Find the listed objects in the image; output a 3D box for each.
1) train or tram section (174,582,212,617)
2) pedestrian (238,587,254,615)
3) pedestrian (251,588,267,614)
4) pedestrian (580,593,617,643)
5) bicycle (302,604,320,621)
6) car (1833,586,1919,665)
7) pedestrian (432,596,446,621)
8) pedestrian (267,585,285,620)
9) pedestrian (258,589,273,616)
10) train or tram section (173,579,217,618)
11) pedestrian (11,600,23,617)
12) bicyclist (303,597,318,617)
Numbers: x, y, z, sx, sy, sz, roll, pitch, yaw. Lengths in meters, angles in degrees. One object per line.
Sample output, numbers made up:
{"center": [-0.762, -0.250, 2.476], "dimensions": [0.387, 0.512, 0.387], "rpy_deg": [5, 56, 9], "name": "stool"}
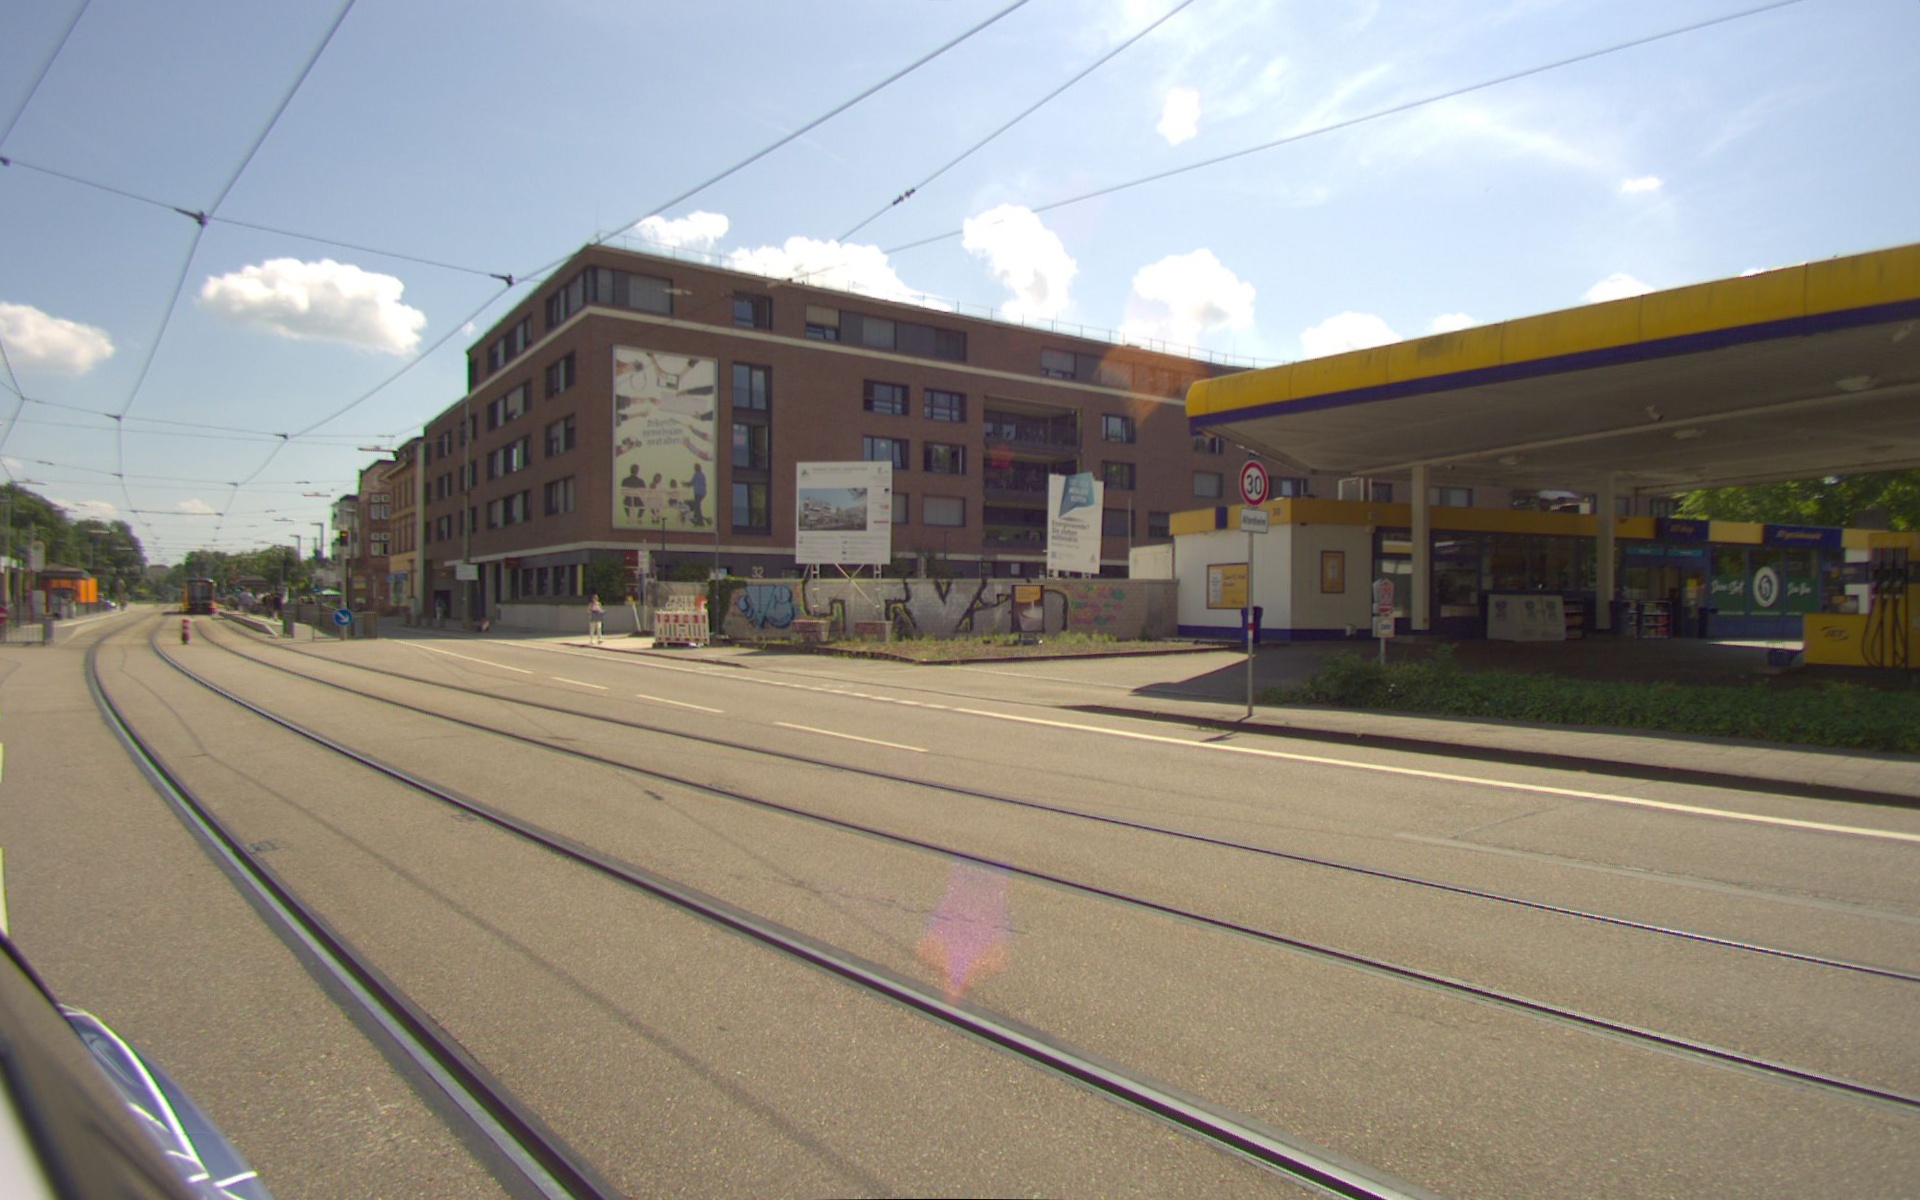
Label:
{"center": [-87.564, -0.059, 115.373], "dimensions": [3.208, 3.594, 20.544], "rpy_deg": [1, 0, -38], "name": "train or tram section"}
{"center": [-46.397, 0.083, 65.746], "dimensions": [0.750, 1.813, 0.954], "rpy_deg": [1, -1, -39], "name": "pedestrian"}
{"center": [-45.721, 0.057, 65.983], "dimensions": [0.750, 1.707, 0.810], "rpy_deg": [1, -1, -39], "name": "pedestrian"}
{"center": [-12.064, 0.592, 33.769], "dimensions": [0.751, 1.607, 1.001], "rpy_deg": [-4, 3, -43], "name": "pedestrian"}
{"center": [-48.897, 0.930, 76.229], "dimensions": [0.807, 1.232, 2.392], "rpy_deg": [2, -1, -42], "name": "bicycle"}
{"center": [19.283, 0.480, 18.716], "dimensions": [1.966, 1.490, 4.355], "rpy_deg": [0, 0, -17], "name": "car"}
{"center": [-34.448, 0.552, 66.915], "dimensions": [0.676, 1.608, 0.762], "rpy_deg": [1, -1, -39], "name": "pedestrian"}
{"center": [-35.930, 0.137, 53.128], "dimensions": [0.676, 1.773, 1.035], "rpy_deg": [1, -1, -39], "name": "pedestrian"}
{"center": [-41.935, 0.157, 61.107], "dimensions": [0.676, 1.608, 0.762], "rpy_deg": [1, -1, -39], "name": "pedestrian"}
{"center": [-76.233, -0.177, 100.735], "dimensions": [3.193, 3.594, 16.383], "rpy_deg": [1, 0, -38], "name": "train or tram section"}
{"center": [-92.893, 0.822, 99.702], "dimensions": [0.555, 1.678, 0.683], "rpy_deg": [0, 0, -15], "name": "pedestrian"}
{"center": [-48.921, 0.533, 76.212], "dimensions": [0.749, 1.515, 1.066], "rpy_deg": [1, 0, -44], "name": "bicyclist"}
